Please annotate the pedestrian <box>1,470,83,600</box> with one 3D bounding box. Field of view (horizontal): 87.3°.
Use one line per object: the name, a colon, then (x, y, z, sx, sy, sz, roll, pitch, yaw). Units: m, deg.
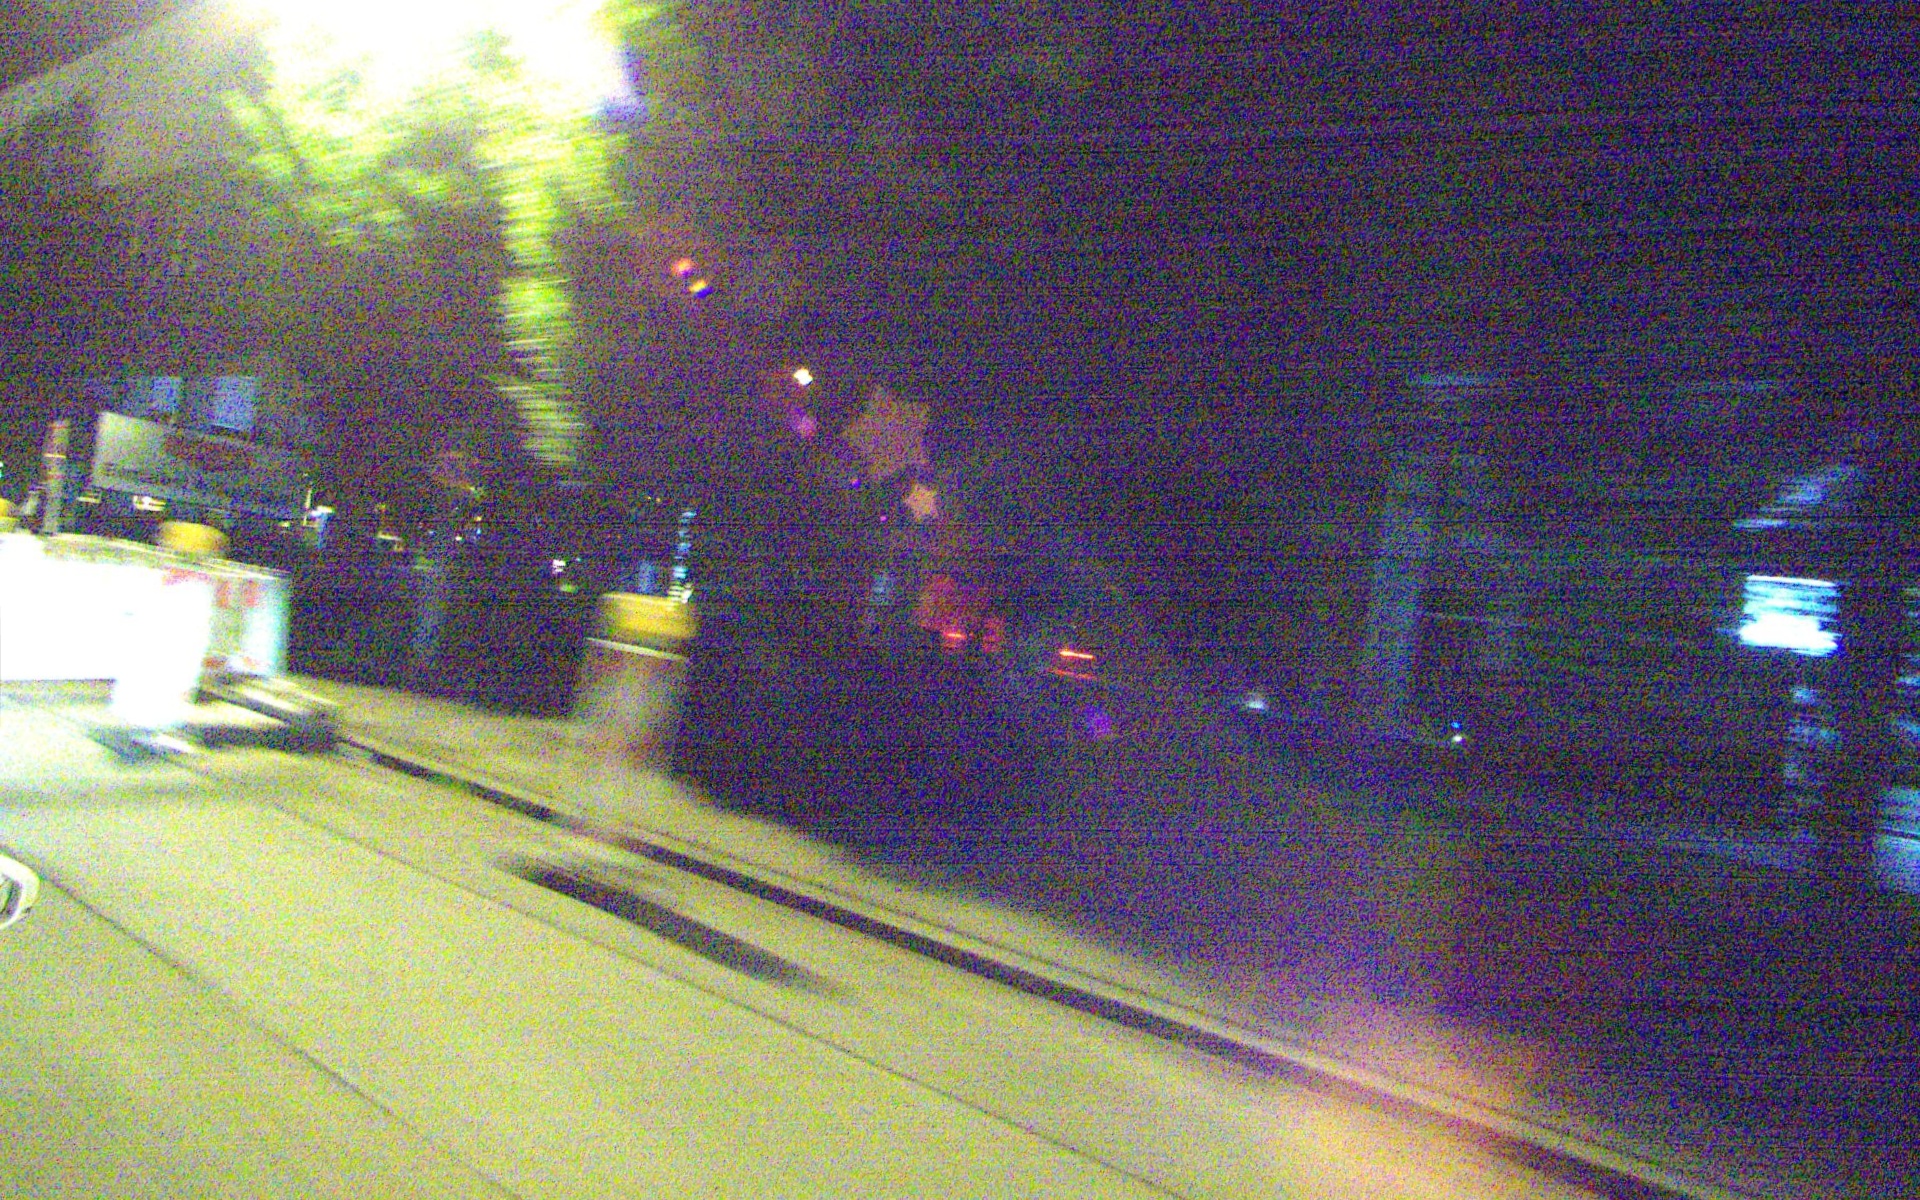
pedestrian: (-14.125, -0.997, 15.478, 0.806, 1.874, 0.571, 7, 0, 33)
